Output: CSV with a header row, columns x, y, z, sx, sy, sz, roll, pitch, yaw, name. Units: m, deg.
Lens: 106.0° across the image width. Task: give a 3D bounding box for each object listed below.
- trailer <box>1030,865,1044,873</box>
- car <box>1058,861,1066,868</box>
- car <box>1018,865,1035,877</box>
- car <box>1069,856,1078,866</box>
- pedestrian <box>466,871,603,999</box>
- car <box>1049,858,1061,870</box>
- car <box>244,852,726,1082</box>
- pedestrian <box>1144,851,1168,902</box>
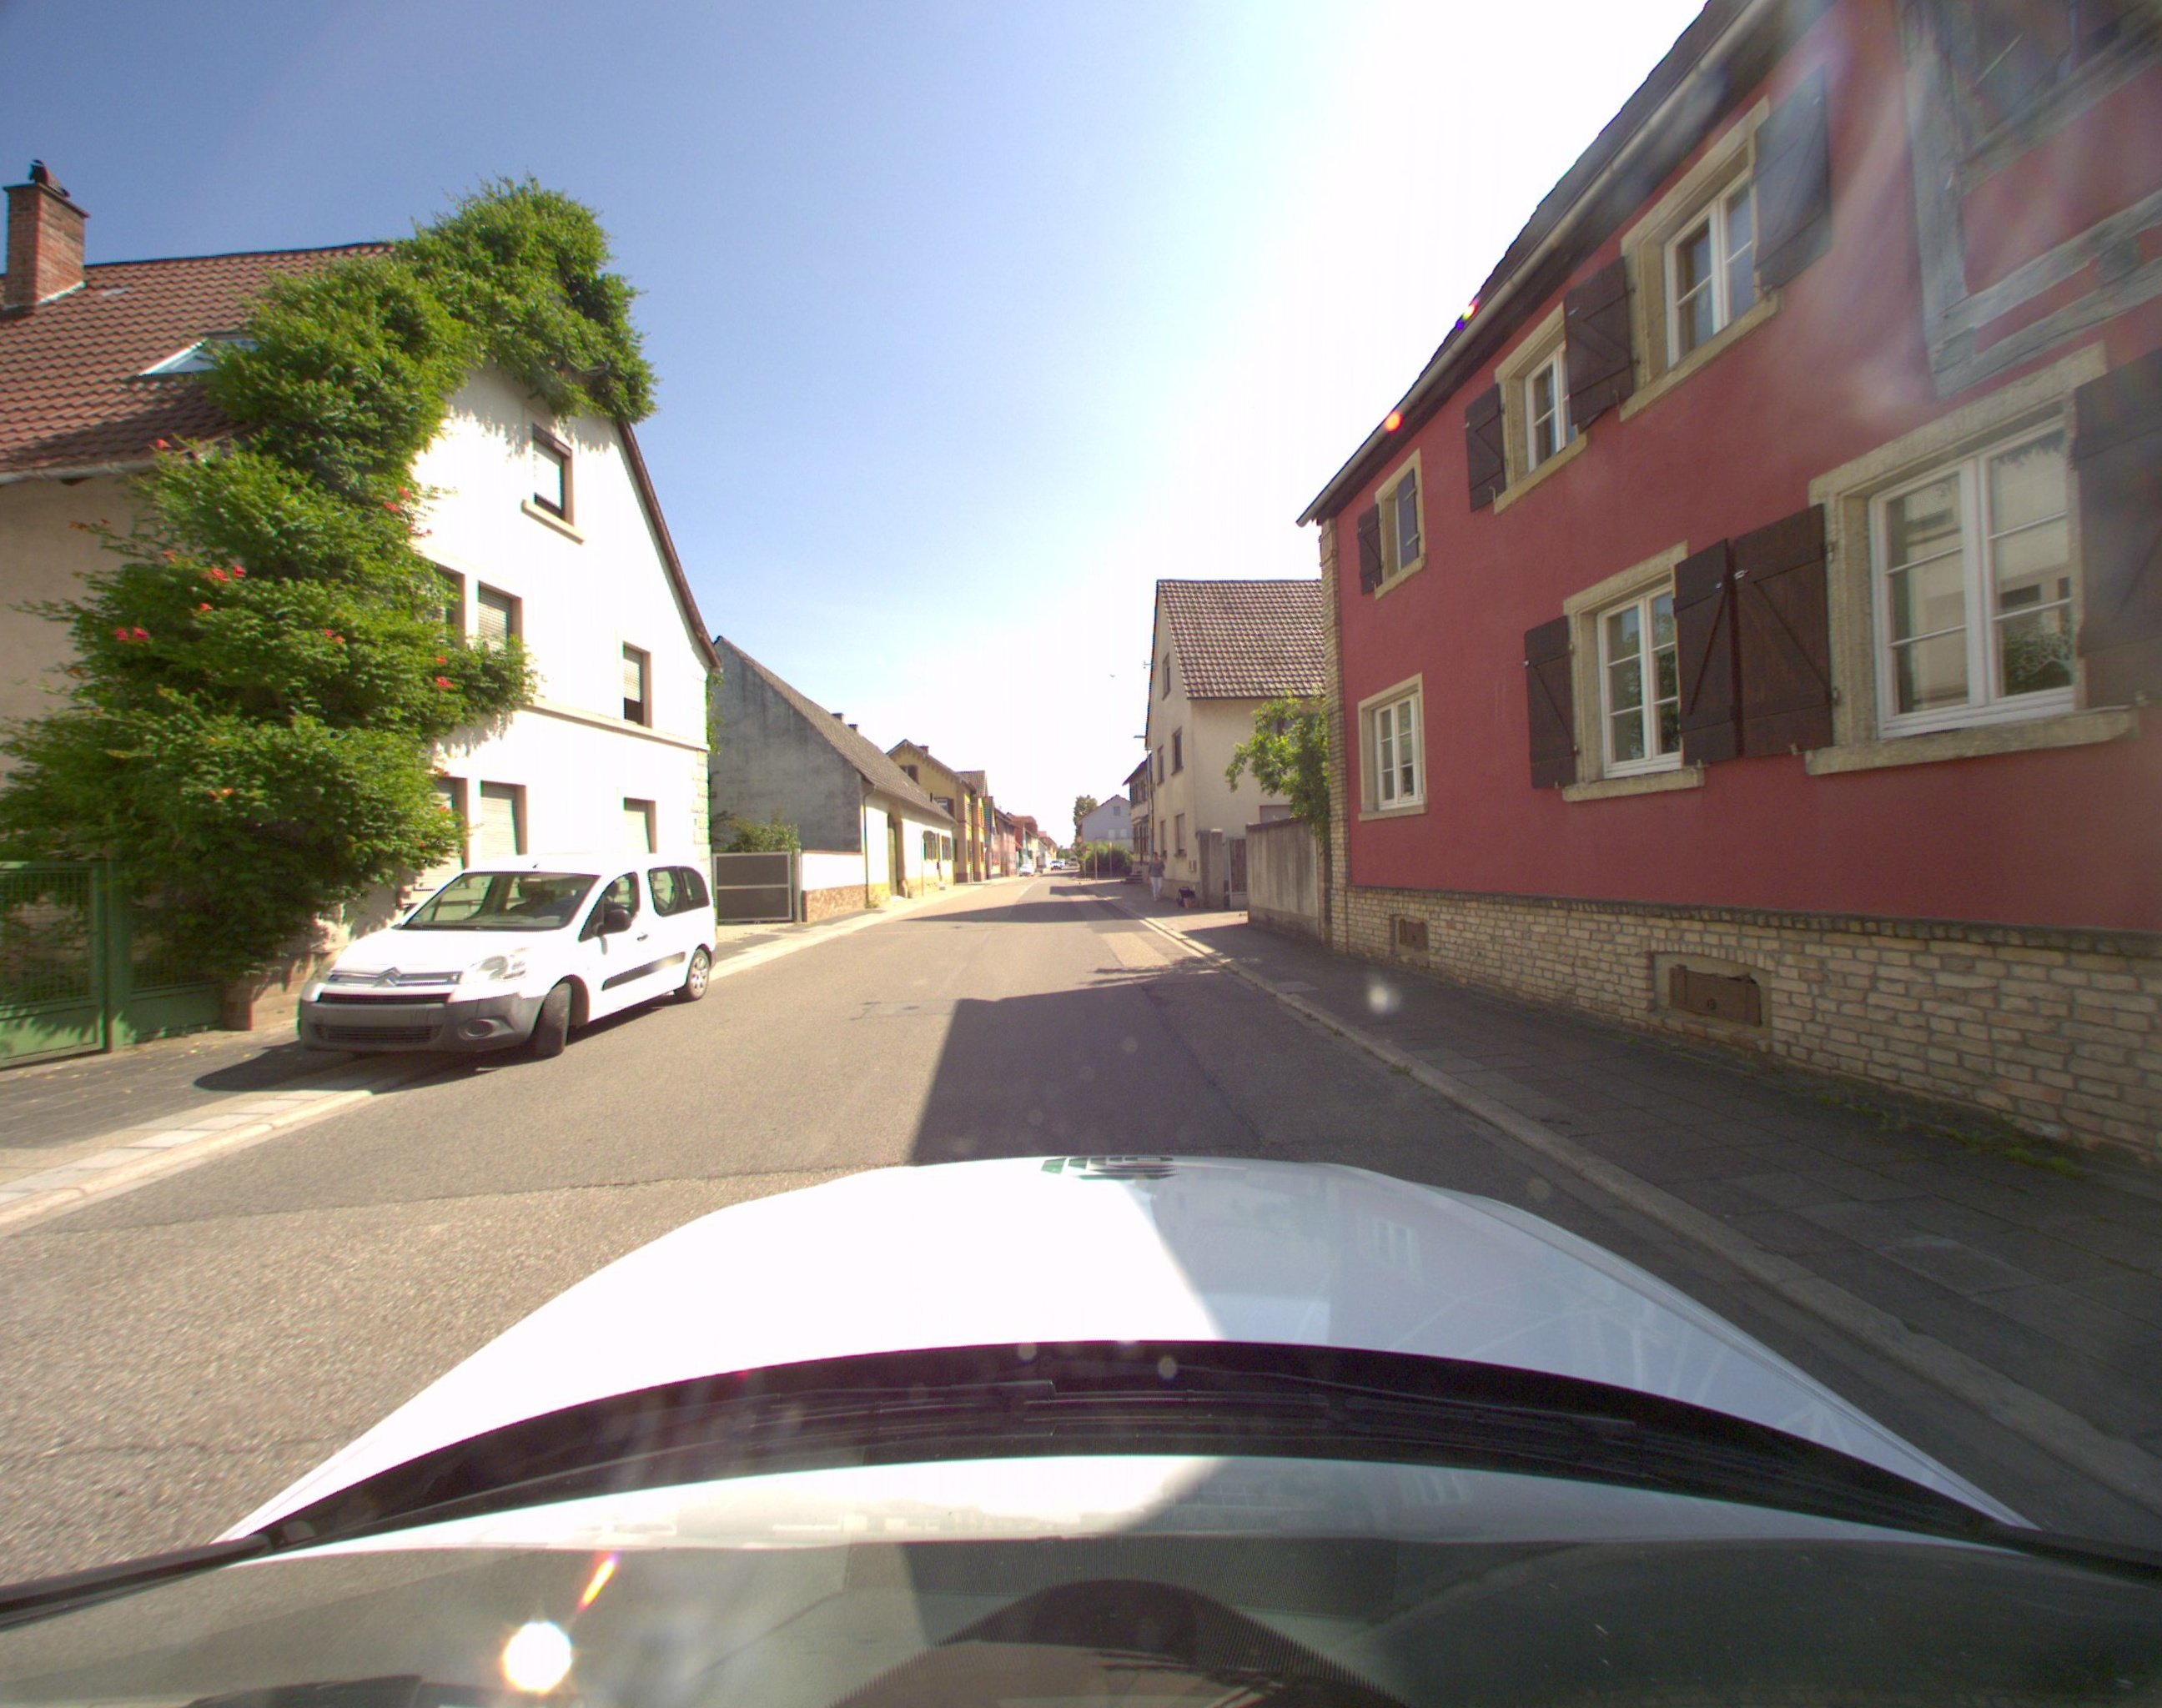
x,y,z,sx,sy,sz,roll,pitch,yaw,name
-6.458,2.166,119.736,1.989,1.090,3.994,-2,0,-4,trailer
-4.896,2.593,207.281,1.988,1.750,3.997,-1,-1,-1,car
-6.875,2.095,103.181,1.988,1.442,3.997,-2,-1,-2,car
-1.890,1.830,211.574,2.012,2.568,3.996,-2,-1,-2,car
-7.102,1.018,10.655,1.010,1.552,1.139,-1,-1,0,pedestrian
-4.941,1.934,155.568,2.153,2.080,3.995,-2,-2,-3,car
-5.404,0.851,8.299,1.852,1.647,4.423,-2,0,-4,car
2.506,0.757,27.279,0.716,1.664,0.892,-1,-1,1,pedestrian
